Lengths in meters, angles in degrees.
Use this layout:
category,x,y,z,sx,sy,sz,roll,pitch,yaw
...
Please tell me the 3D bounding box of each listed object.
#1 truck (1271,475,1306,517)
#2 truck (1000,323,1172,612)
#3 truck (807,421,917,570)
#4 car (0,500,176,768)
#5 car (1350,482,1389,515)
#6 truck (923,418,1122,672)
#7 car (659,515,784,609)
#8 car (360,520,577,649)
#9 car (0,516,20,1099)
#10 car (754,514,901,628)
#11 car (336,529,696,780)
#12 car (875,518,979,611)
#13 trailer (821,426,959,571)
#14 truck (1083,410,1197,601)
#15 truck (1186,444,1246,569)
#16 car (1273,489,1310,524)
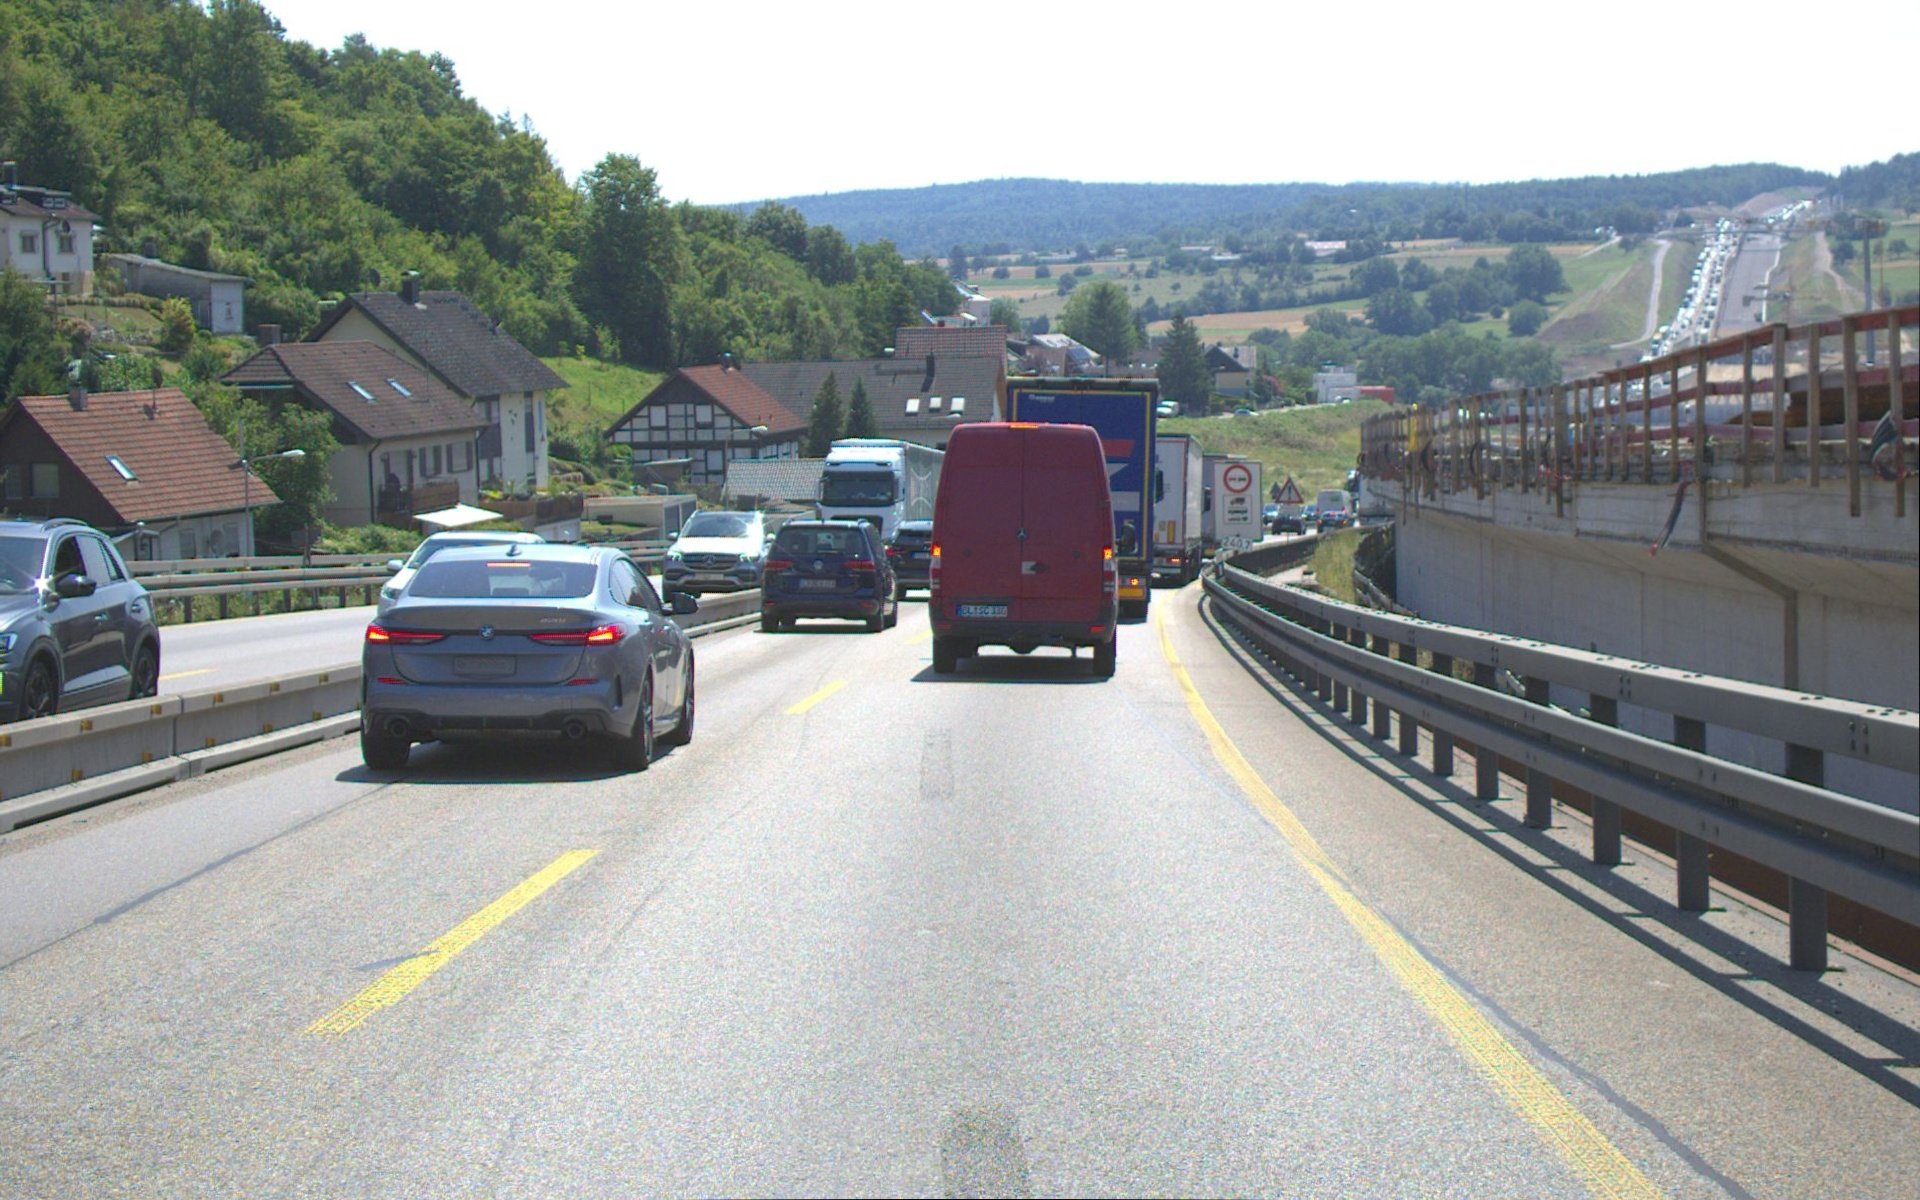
category,x,y,z,sx,sy,sz,roll,pitch,yaw
truck,12.866,-4.061,134.451,1.314,1.537,3.151,1,0,6
truck,2.283,-2.258,62.571,2.786,4.799,9.684,1,0,2
truck,-3.237,-3.438,114.336,3.061,4.805,4.644,1,0,5
car,-6.612,0.153,22.983,1.739,1.636,4.001,1,1,1
car,26.603,-6.607,223.412,2.132,2.007,3.998,1,0,12
truck,0.729,-0.583,37.330,1.994,2.570,4.000,1,0,2
car,-4.551,-0.753,66.135,1.912,1.699,4.736,1,1,2
car,-6.001,-0.229,42.471,1.912,1.481,4.477,1,1,2
car,-3.285,0.562,6.762,1.651,1.478,4.266,-1,1,0
car,-1.939,-0.436,51.201,1.810,1.602,3.718,1,0,3
car,-2.809,0.286,22.561,1.794,1.480,4.050,1,1,0
car,-0.642,-0.719,70.307,1.729,1.832,3.999,1,0,5
trailer,-2.350,-3.465,122.341,3.065,4.799,13.998,1,0,6
truck,4.746,-2.440,92.073,2.786,4.799,9.684,1,0,2
truck,9.216,-3.337,123.393,1.994,4.366,3.999,1,0,5
car,20.168,-5.687,209.244,1.804,2.007,3.998,2,1,11
